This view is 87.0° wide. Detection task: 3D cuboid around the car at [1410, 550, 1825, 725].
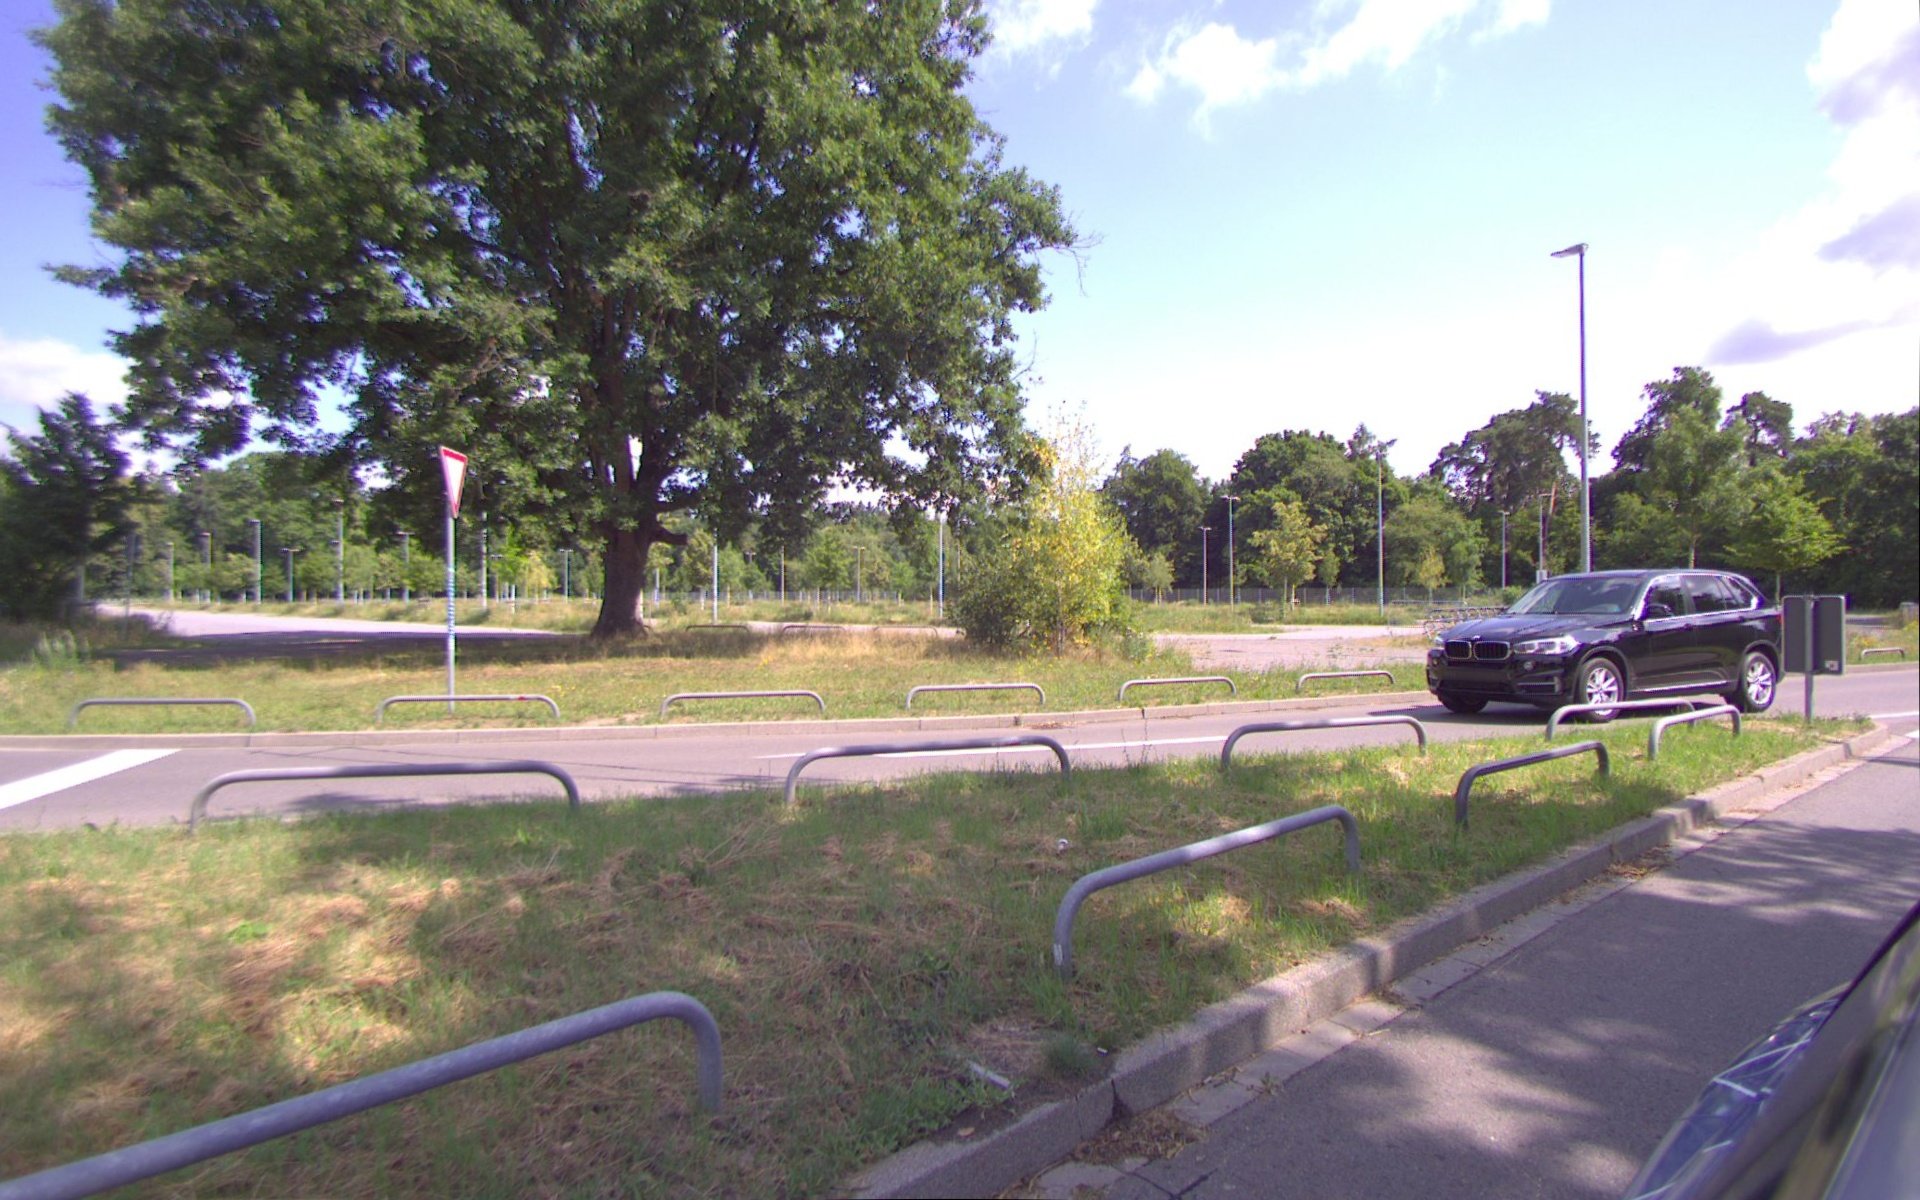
[{"bbox_3d":[8.001,0.339,12.317,4.610,1.787,1.985,-2,1,-23],"label":"car"}]
